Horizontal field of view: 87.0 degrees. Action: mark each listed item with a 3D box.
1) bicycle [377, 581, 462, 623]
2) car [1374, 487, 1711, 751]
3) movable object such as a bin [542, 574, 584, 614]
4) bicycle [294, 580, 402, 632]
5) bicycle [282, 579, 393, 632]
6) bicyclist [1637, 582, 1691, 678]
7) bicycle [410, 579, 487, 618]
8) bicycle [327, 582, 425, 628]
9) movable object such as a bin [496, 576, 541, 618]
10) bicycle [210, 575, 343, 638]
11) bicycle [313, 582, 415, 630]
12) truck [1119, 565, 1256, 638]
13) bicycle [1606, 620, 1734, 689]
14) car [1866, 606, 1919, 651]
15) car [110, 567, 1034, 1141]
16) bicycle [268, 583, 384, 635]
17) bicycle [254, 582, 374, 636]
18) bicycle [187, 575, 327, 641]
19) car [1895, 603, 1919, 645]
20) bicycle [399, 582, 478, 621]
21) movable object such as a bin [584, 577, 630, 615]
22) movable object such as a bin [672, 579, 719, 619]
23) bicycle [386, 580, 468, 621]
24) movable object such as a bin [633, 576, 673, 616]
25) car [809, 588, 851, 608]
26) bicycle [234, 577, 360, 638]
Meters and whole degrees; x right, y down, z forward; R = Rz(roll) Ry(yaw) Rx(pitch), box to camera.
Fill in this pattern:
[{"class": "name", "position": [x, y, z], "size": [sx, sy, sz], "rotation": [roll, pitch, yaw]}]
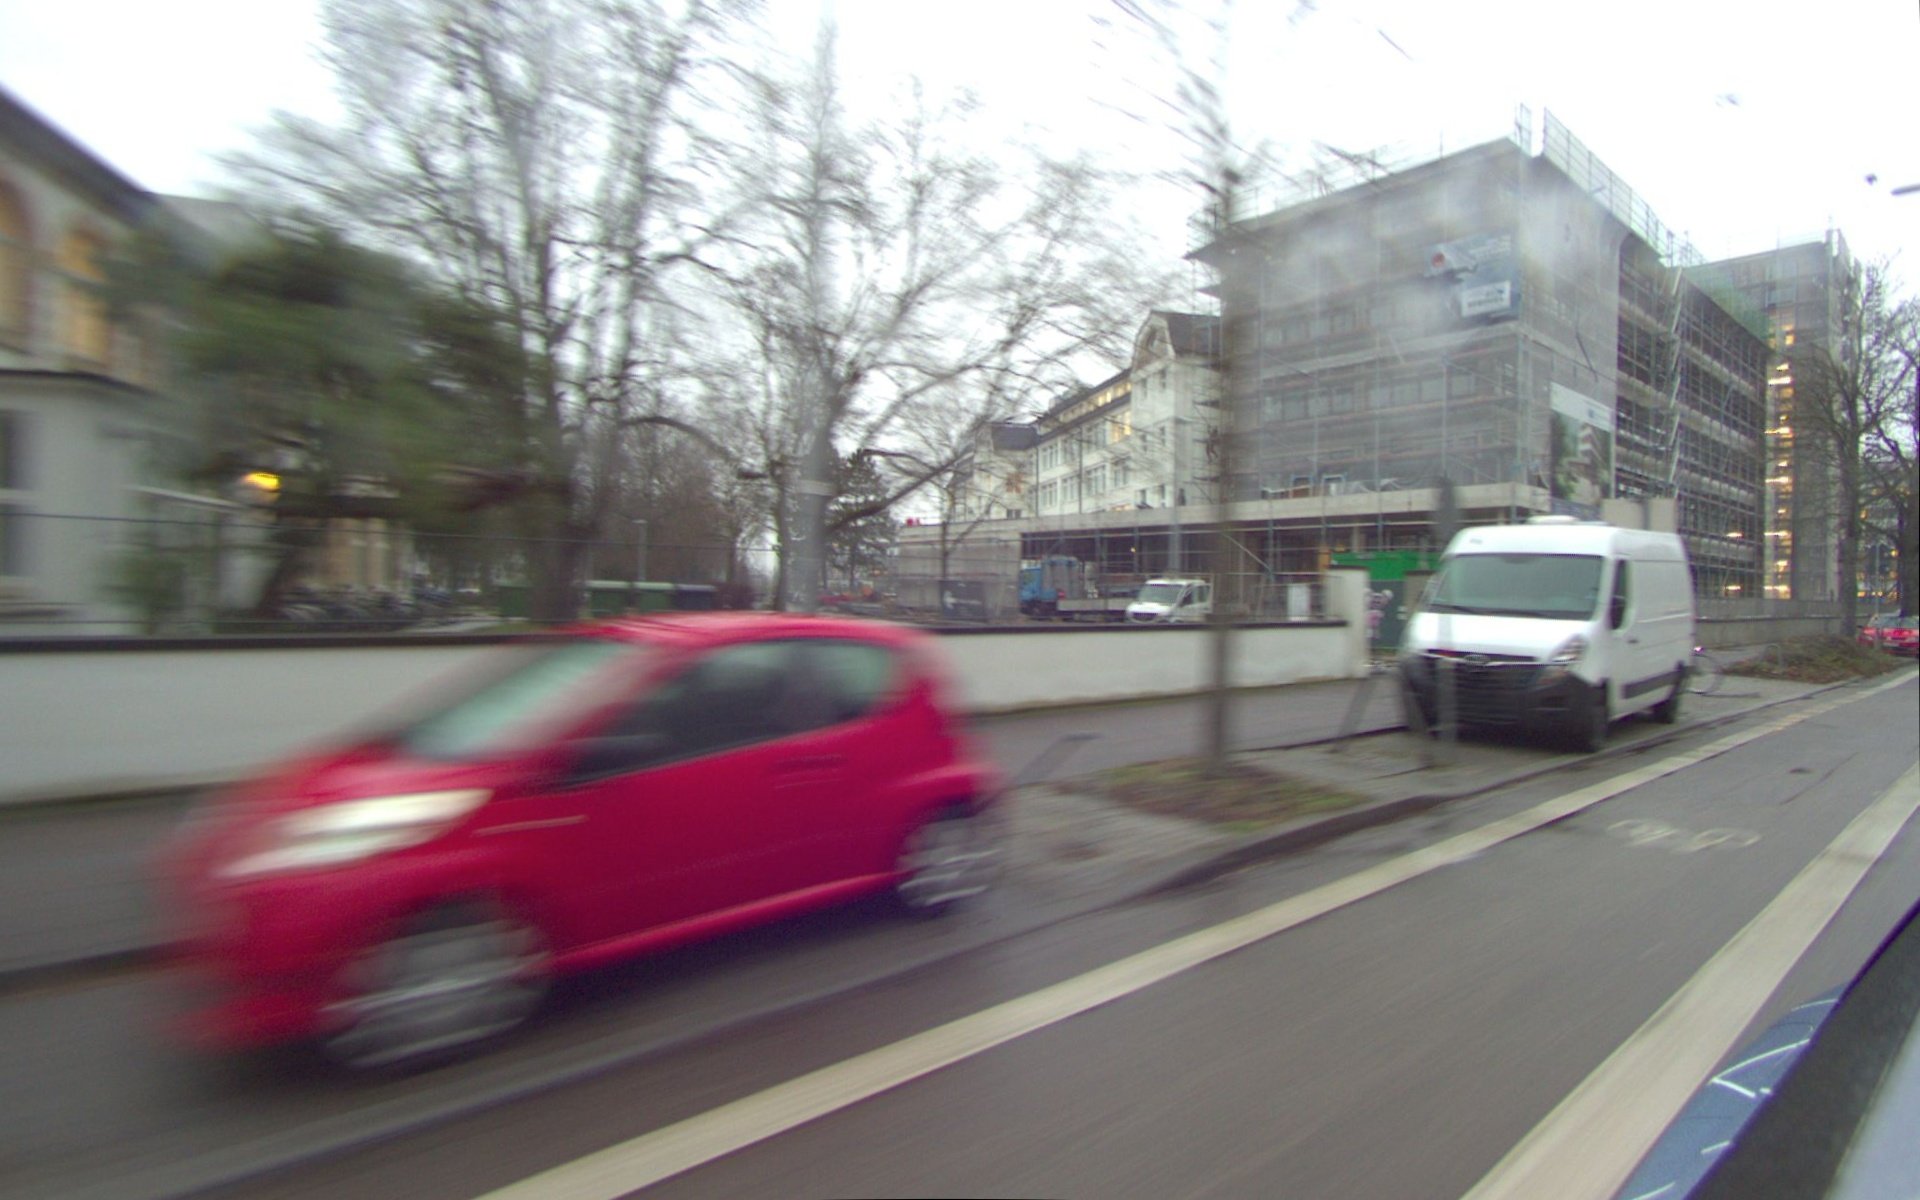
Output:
[{"class": "bicycle", "position": [-15.867, 0.070, 29.740], "size": [2.097, 1.171, 0.574], "rotation": [2, 0, -10]}, {"class": "car", "position": [7.259, 0.193, 12.290], "size": [5.348, 2.518, 2.126], "rotation": [1, 0, -44]}, {"class": "movable object such as a bin", "position": [-13.403, -0.199, 34.240], "size": [1.225, 1.296, 0.990], "rotation": [2, 0, -18]}, {"class": "bicycle", "position": [-14.480, 0.134, 23.988], "size": [2.097, 1.171, 0.574], "rotation": [2, 0, -10]}, {"class": "bicycle", "position": [-14.346, 0.124, 23.380], "size": [2.097, 1.171, 0.574], "rotation": [2, 0, -10]}, {"class": "bicyclist", "position": [13.031, 0.539, 18.735], "size": [0.767, 1.710, 0.697], "rotation": [1, 0, 37]}, {"class": "bicycle", "position": [-16.426, -0.054, 32.541], "size": [2.097, 1.171, 0.574], "rotation": [2, 0, -10]}, {"class": "bicycle", "position": [-15.023, 0.121, 26.079], "size": [2.097, 1.124, 0.574], "rotation": [2, 0, -10]}, {"class": "movable object such as a bin", "position": [-14.647, -0.110, 33.579], "size": [1.237, 1.330, 0.990], "rotation": [2, 0, -18]}, {"class": "bicycle", "position": [-13.434, 0.135, 19.942], "size": [2.097, 1.171, 0.574], "rotation": [2, 0, -10]}, {"class": "bicycle", "position": [-14.802, 0.148, 25.191], "size": [2.097, 1.106, 0.574], "rotation": [2, 0, -10]}, {"class": "truck", "position": [8.985, -0.032, 39.442], "size": [2.124, 2.620, 6.976], "rotation": [2, 2, 41]}, {"class": "bicycle", "position": [13.081, 0.973, 18.682], "size": [1.883, 1.147, 0.721], "rotation": [2, 0, 37]}, {"class": "car", "position": [31.996, 0.968, 34.031], "size": [3.669, 1.404, 1.752], "rotation": [1, 0, -40]}, {"class": "car", "position": [-1.455, 0.700, 4.552], "size": [3.513, 1.543, 1.644], "rotation": [1, -1, -44]}, {"class": "bicycle", "position": [-14.225, 0.193, 22.734], "size": [2.097, 1.029, 0.574], "rotation": [3, 0, -10]}, {"class": "bicycle", "position": [-14.080, 0.196, 22.096], "size": [2.097, 1.063, 0.574], "rotation": [3, 0, -10]}, {"class": "bicycle", "position": [-13.232, 0.147, 19.097], "size": [2.097, 1.171, 0.574], "rotation": [2, 0, -10]}, {"class": "car", "position": [38.526, 0.985, 40.052], "size": [3.669, 1.604, 1.752], "rotation": [1, 0, -40]}, {"class": "bicycle", "position": [-16.250, 0.045, 31.574], "size": [2.097, 1.171, 0.574], "rotation": [2, 0, -10]}, {"class": "movable object such as a bin", "position": [-11.974, -0.140, 34.396], "size": [1.408, 1.240, 0.990], "rotation": [2, 0, -18]}, {"class": "movable object such as a bin", "position": [-9.231, -0.043, 35.294], "size": [1.297, 1.333, 1.064], "rotation": [3, 0, -30]}, {"class": "bicycle", "position": [-16.097, 0.025, 30.602], "size": [2.097, 1.171, 0.574], "rotation": [2, 0, -10]}, {"class": "movable object such as a bin", "position": [-10.581, -0.142, 34.879], "size": [1.280, 1.330, 0.990], "rotation": [2, 0, -18]}, {"class": "car", "position": [-10.750, -0.180, 83.546], "size": [3.239, 1.542, 1.708], "rotation": [2, 0, -15]}, {"class": "bicycle", "position": [-13.627, 0.154, 20.853], "size": [2.097, 1.171, 0.574], "rotation": [2, 0, -10]}]
